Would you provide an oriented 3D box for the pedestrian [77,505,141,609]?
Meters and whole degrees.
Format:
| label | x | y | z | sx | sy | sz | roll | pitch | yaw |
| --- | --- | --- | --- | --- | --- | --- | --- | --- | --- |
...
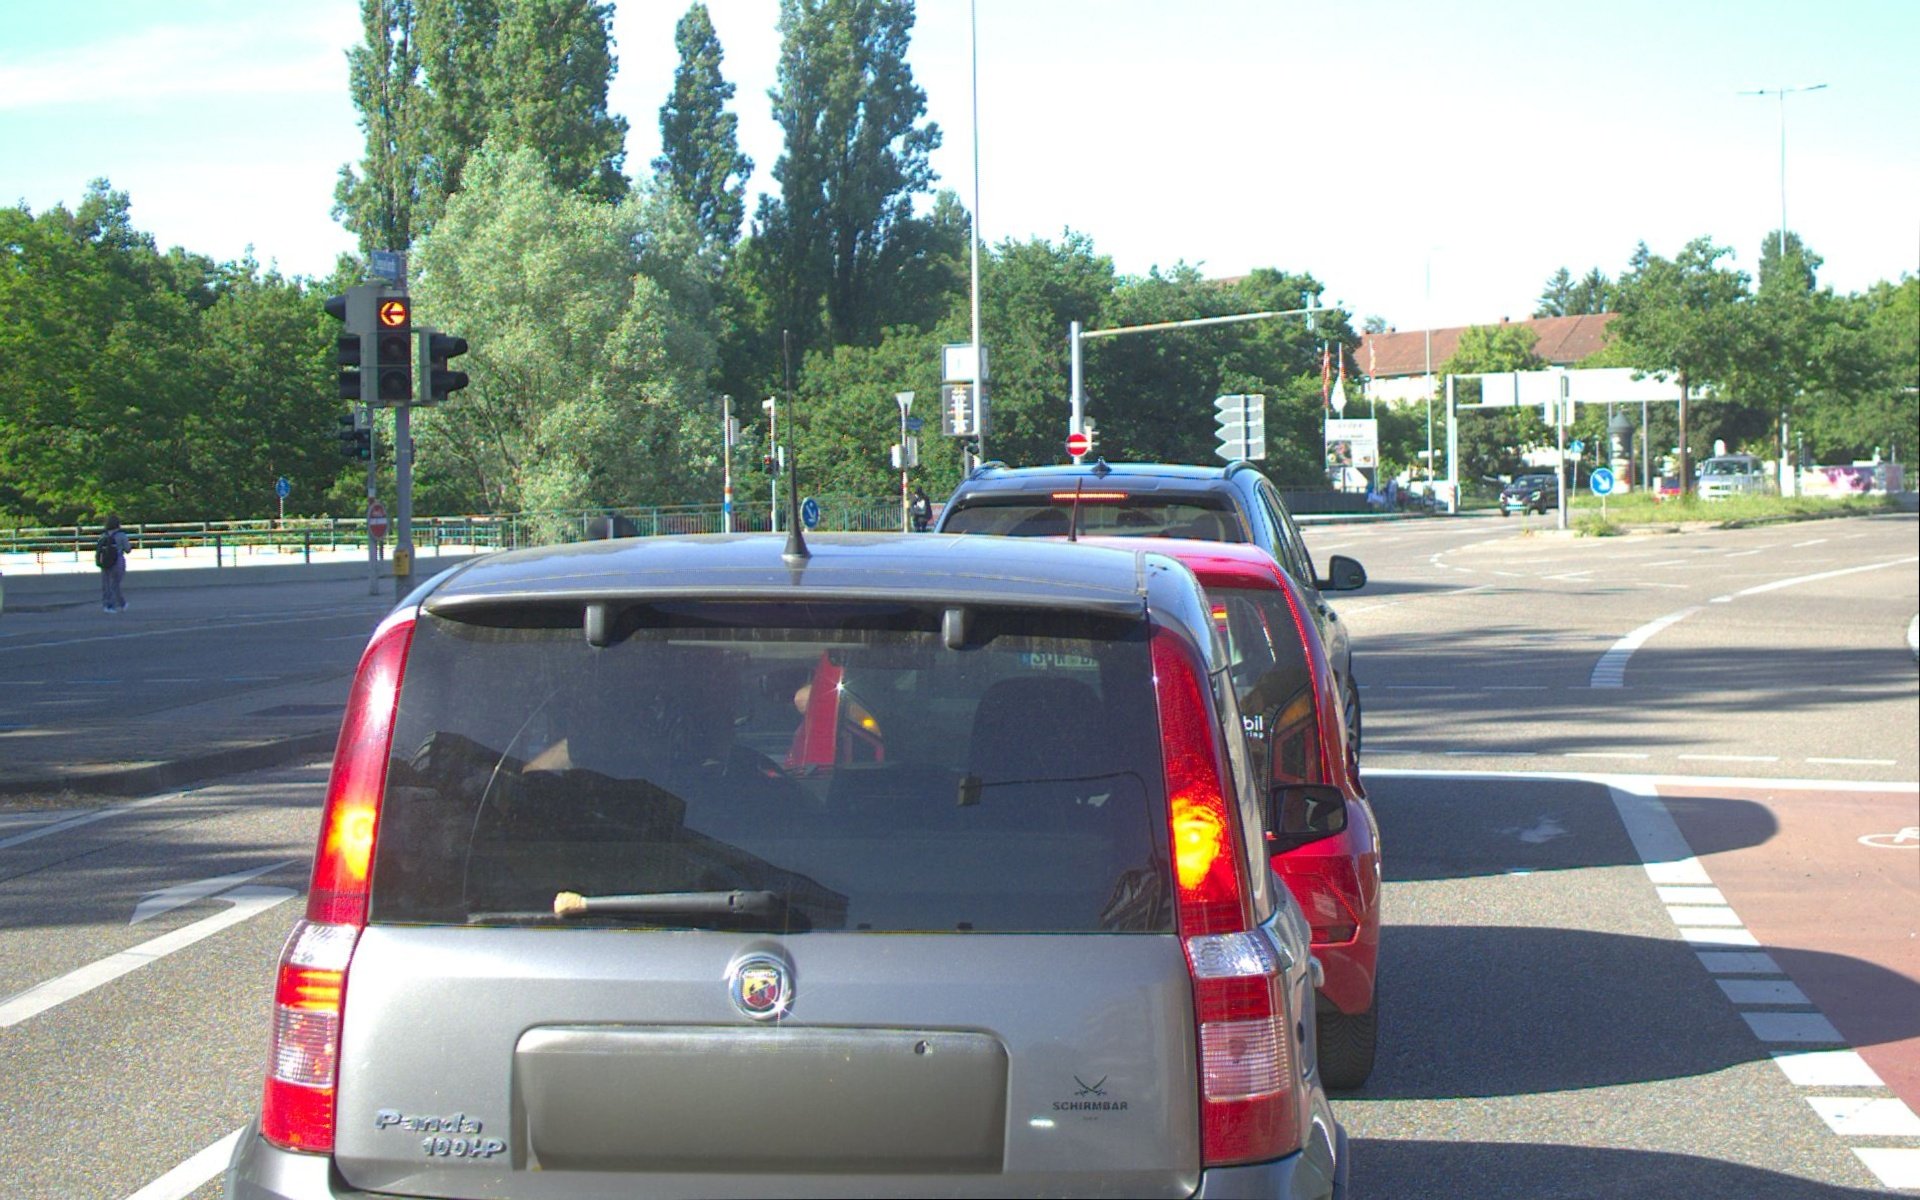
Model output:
| label | x | y | z | sx | sy | sz | roll | pitch | yaw |
| --- | --- | --- | --- | --- | --- | --- | --- | --- | --- |
| pedestrian | -13.109 | -0.657 | 52.990 | 0.686 | 1.533 | 1.366 | 0 | -3 | -3 |

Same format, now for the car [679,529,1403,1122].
| label | x | y | z | sx | sy | sz | roll | pitch | yaw |
| --- | --- | --- | --- | --- | --- | --- | --- | --- | --- |
| car | 0.282 | 0.530 | 10.725 | 1.820 | 1.474 | 4.000 | 1 | 1 | 2 |

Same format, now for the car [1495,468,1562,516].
| label | x | y | z | sx | sy | sz | roll | pitch | yaw |
| --- | --- | --- | --- | --- | --- | --- | --- | --- | --- |
| car | 24.251 | -4.577 | 146.564 | 2.015 | 1.848 | 4.426 | 0 | -1 | 20 |

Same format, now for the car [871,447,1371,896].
| label | x | y | z | sx | sy | sz | roll | pitch | yaw |
| --- | --- | --- | --- | --- | --- | --- | --- | --- | --- |
| car | 0.899 | 0.210 | 16.100 | 1.869 | 1.784 | 4.413 | 1 | 2 | 9 |

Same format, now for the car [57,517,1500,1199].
| label | x | y | z | sx | sy | sz | roll | pitch | yaw |
| --- | --- | --- | --- | --- | --- | --- | --- | --- | --- |
| car | -0.143 | 0.622 | 6.369 | 1.820 | 1.484 | 4.000 | 2 | 2 | 3 |

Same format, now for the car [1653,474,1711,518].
| label | x | y | z | sx | sy | sz | roll | pitch | yaw |
| --- | --- | --- | --- | --- | --- | --- | --- | --- | --- |
| car | 34.015 | -4.898 | 161.937 | 2.015 | 1.848 | 4.881 | 0 | -1 | 20 |
